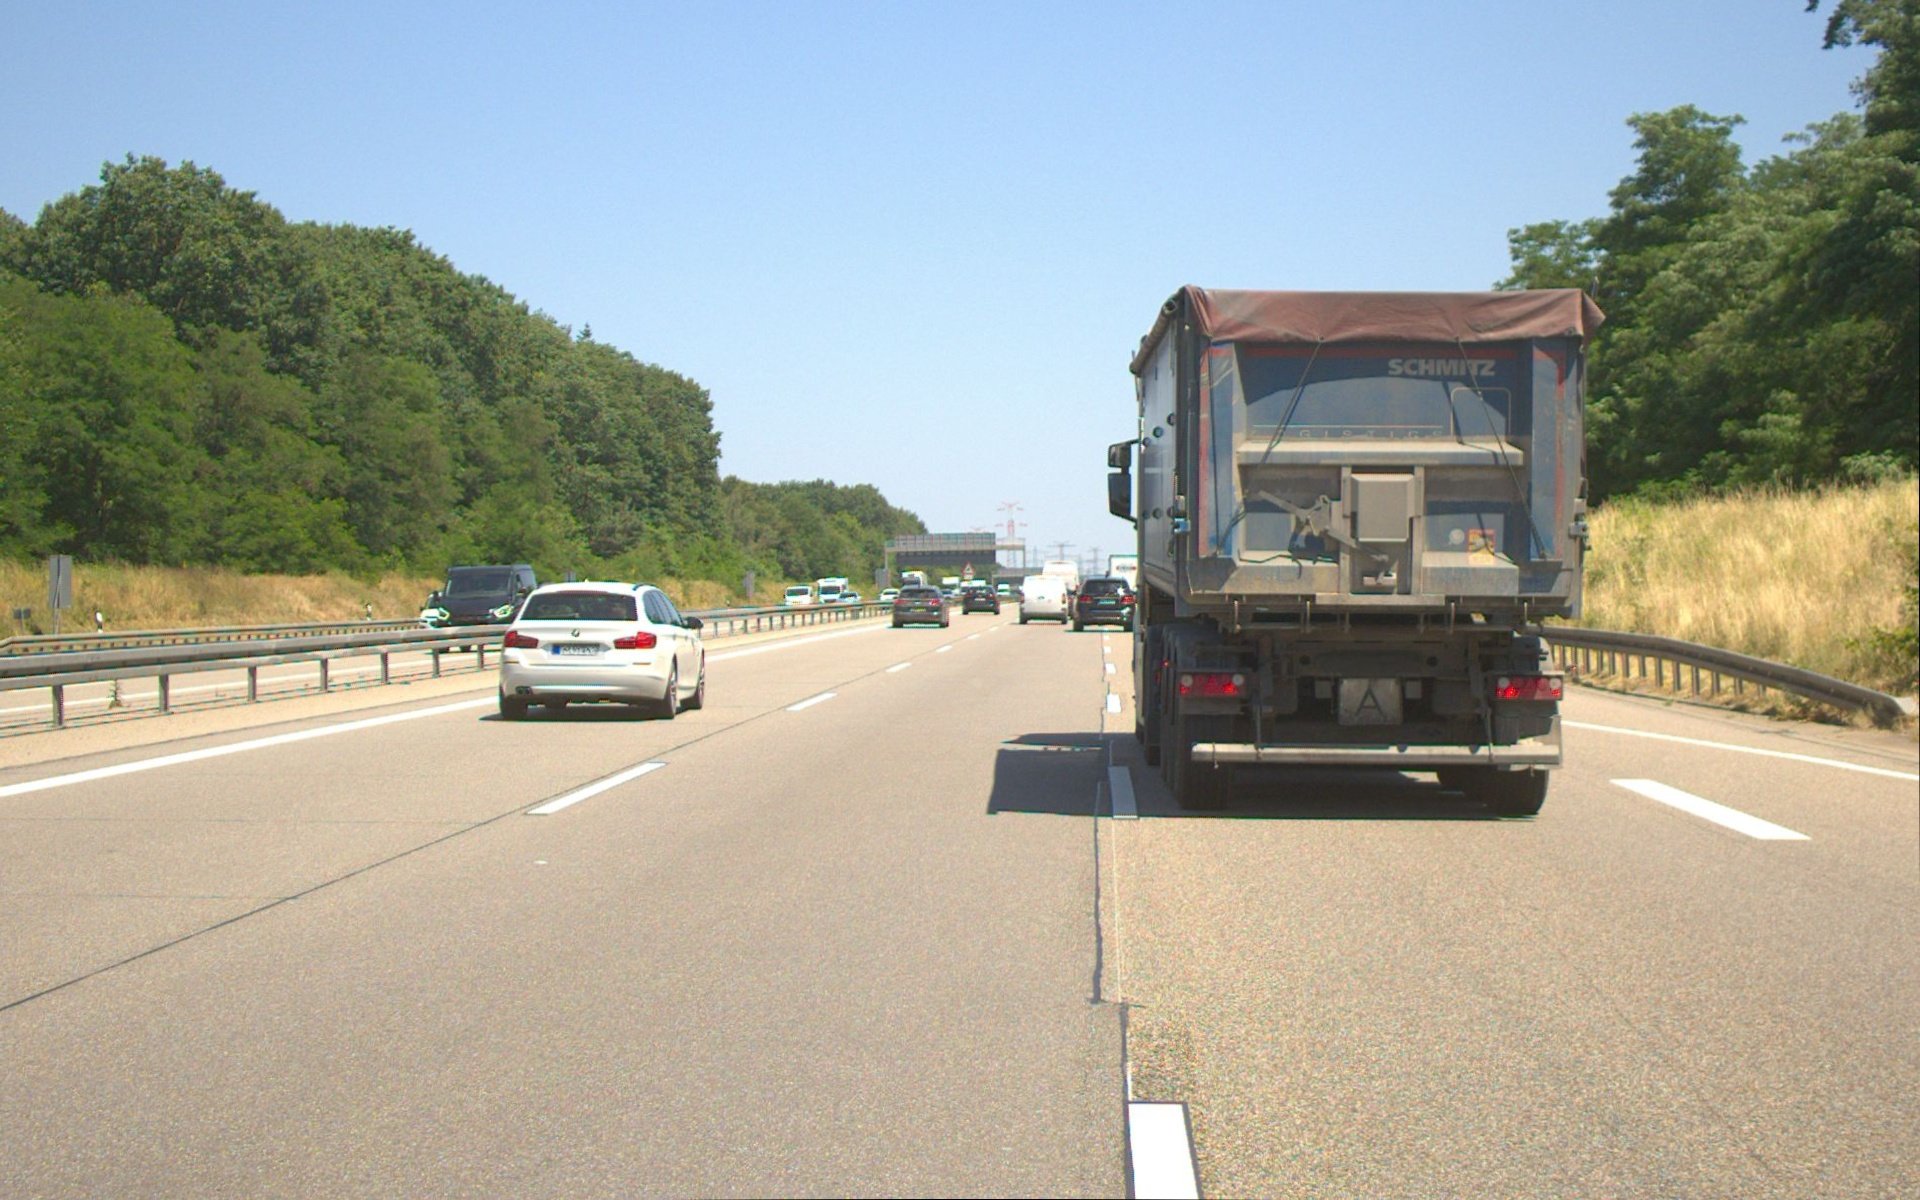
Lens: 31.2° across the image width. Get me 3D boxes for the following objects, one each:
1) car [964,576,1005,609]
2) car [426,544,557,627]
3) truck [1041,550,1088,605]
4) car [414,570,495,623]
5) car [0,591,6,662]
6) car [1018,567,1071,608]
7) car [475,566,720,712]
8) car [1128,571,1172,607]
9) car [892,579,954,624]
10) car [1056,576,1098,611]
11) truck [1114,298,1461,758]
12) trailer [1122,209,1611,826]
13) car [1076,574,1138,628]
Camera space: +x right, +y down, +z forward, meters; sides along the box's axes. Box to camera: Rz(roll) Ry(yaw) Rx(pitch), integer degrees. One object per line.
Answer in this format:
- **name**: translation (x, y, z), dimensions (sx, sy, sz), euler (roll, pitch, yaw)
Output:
- **car**: translation (1.236, -0.376, 171.927), dimensions (1.876, 1.575, 3.928), euler (0, 1, 2)
- **car**: translation (-11.336, -0.362, 83.449), dimensions (2.280, 1.934, 4.942), euler (-1, 1, 2)
- **truck**: translation (5.605, -1.208, 185.213), dimensions (2.428, 2.874, 6.205), euler (1, 0, 1)
- **car**: translation (-18.275, -0.146, 124.468), dimensions (1.994, 1.821, 4.642), euler (-2, 0, 2)
- **car**: translation (-20.876, 0.589, 68.886), dimensions (1.927, 1.458, 4.942), euler (-1, 1, 2)
- **car**: translation (3.214, -0.492, 129.883), dimensions (1.894, 1.464, 4.261), euler (1, 1, 2)
- **car**: translation (-3.957, 0.391, 38.443), dimensions (1.964, 1.498, 5.404), euler (1, 0, 2)
- **car**: translation (8.040, -0.472, 145.164), dimensions (1.821, 1.486, 3.736), euler (1, 0, 3)
- **car**: translation (-1.233, 0.027, 116.331), dimensions (1.832, 1.427, 4.999), euler (1, 1, 2)
- **car**: translation (5.072, -0.283, 148.870), dimensions (1.735, 1.486, 3.737), euler (1, 0, 3)
- **truck**: translation (2.801, -0.635, 30.965), dimensions (2.684, 3.746, 5.944), euler (0, 1, 1)
- **trailer**: translation (2.680, -0.575, 25.452), dimensions (2.737, 3.746, 9.109), euler (0, 1, 1)
- **car**: translation (4.680, 0.030, 109.852), dimensions (1.832, 1.666, 4.000), euler (1, 0, 1)
